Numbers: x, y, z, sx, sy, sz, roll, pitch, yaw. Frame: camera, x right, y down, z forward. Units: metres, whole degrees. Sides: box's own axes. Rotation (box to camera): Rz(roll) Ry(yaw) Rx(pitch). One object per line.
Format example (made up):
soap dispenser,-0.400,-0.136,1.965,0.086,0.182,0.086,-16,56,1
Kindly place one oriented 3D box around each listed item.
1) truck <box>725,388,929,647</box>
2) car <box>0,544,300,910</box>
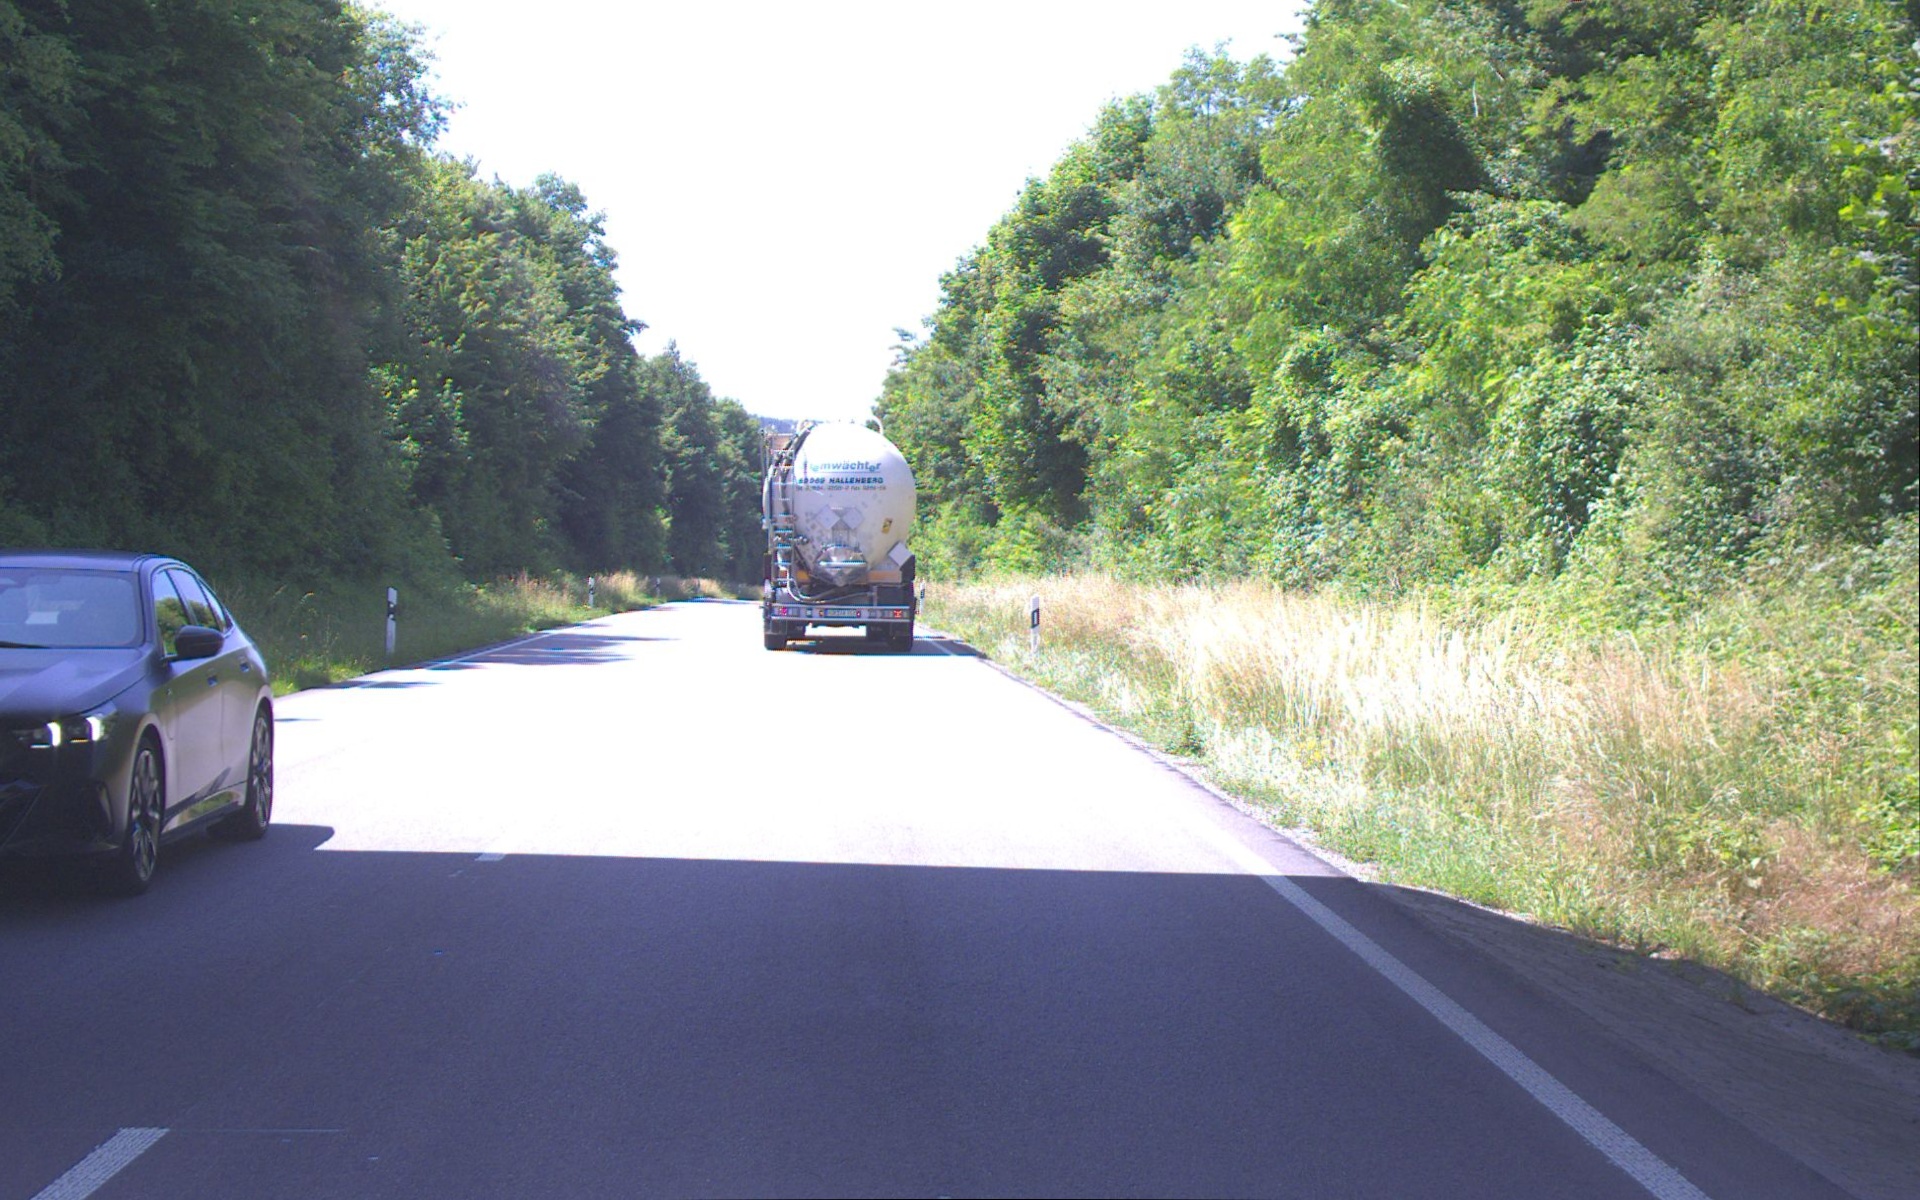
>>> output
truck,-2.517,-1.326,63.004,3.049,3.985,15.638,3,0,-3
car,-4.481,0.485,16.406,1.859,1.500,4.587,0,1,-1
